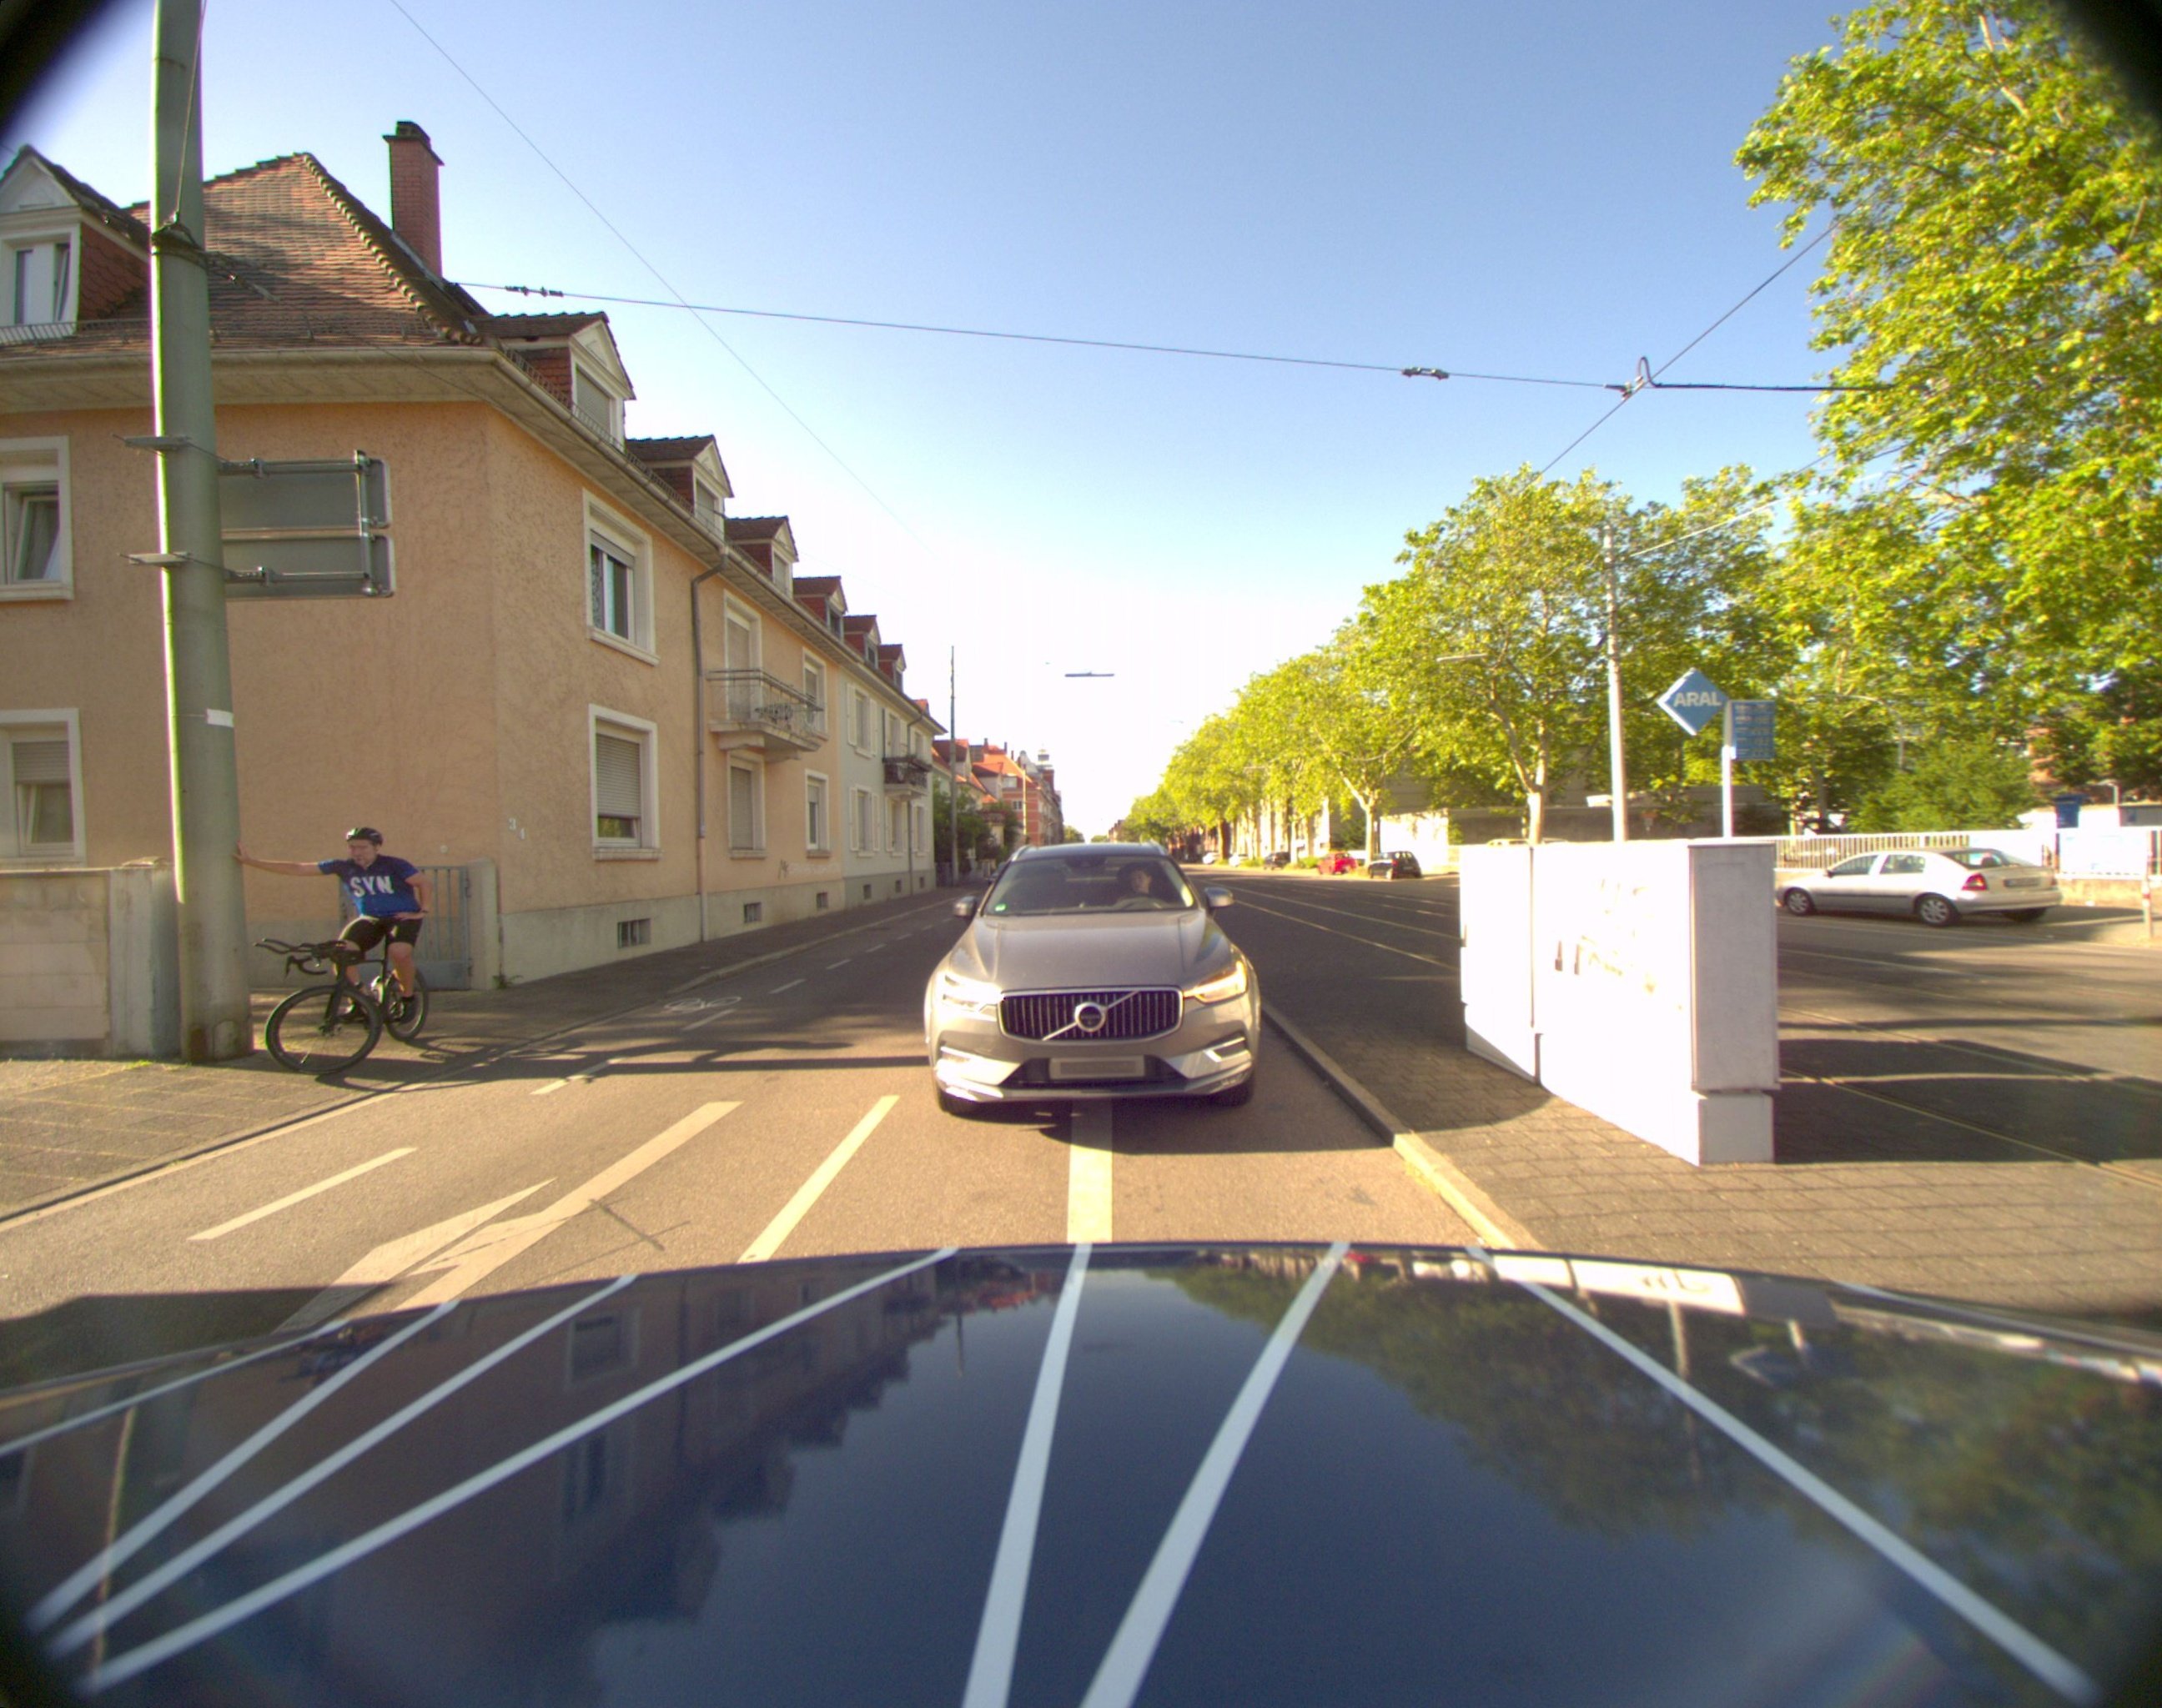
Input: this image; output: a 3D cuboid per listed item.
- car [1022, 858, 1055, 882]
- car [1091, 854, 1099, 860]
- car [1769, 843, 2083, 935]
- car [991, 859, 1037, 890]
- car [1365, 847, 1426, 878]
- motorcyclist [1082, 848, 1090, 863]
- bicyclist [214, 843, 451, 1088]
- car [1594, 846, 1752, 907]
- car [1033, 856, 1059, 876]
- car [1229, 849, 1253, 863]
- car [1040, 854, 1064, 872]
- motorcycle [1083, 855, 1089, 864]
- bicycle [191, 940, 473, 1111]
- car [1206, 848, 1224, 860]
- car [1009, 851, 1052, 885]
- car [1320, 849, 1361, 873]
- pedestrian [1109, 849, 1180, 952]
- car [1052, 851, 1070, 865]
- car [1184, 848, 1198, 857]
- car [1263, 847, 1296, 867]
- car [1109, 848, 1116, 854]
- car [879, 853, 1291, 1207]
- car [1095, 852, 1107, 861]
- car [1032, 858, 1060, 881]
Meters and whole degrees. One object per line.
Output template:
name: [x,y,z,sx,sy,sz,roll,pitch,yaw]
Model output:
car: [-2.676,0.986,48.306,1.785,1.346,4.000,-1,0,1]
car: [3.349,0.743,183.523,1.998,1.543,4.000,-1,0,1]
car: [16.253,0.592,14.994,1.795,1.455,3.966,-4,0,2]
car: [-3.203,0.960,37.028,1.647,1.357,3.868,-1,0,4]
car: [16.890,0.416,40.983,1.826,1.521,3.653,-2,0,1]
motorcyclist: [0.605,0.165,93.707,0.827,1.832,1.159,-2,1,1]
bicyclist: [-6.139,0.858,6.293,1.076,1.854,0.846,2,1,1]
car: [16.439,0.571,21.342,1.692,1.455,3.519,-4,0,2]
car: [-2.744,0.940,60.678,1.785,1.468,4.000,-1,0,1]
car: [17.553,0.214,83.429,1.802,1.489,4.000,-1,0,1]
car: [-2.554,0.762,66.832,1.875,1.477,4.000,-1,0,1]
motorcycle: [0.640,0.710,93.802,0.792,1.095,2.519,0,0,1]
bicycle: [-5.934,1.299,6.178,0.572,0.986,1.698,2,0,1]
car: [17.740,-0.019,100.674,1.802,1.504,4.000,-1,0,1]
car: [-2.781,0.711,42.888,1.751,1.767,5.351,-1,0,3]
car: [16.950,0.429,49.752,1.641,1.499,3.046,-1,0,1]
pedestrian: [1.062,0.752,12.886,0.696,1.652,1.096,-3,1,-26]
car: [-2.197,0.443,85.494,1.875,1.477,4.000,-1,0,1]
car: [18.202,-0.229,125.631,1.802,1.504,4.000,-1,0,1]
car: [17.202,0.280,66.044,1.802,1.652,4.000,-1,0,1]
car: [9.107,-0.799,221.695,1.998,1.652,4.000,-1,0,1]
car: [0.050,0.847,5.804,1.940,1.650,4.321,-1,0,1]
car: [3.725,0.456,141.429,1.998,1.543,4.000,-1,0,1]
car: [-2.459,1.080,54.442,1.785,1.468,4.000,-1,0,1]
